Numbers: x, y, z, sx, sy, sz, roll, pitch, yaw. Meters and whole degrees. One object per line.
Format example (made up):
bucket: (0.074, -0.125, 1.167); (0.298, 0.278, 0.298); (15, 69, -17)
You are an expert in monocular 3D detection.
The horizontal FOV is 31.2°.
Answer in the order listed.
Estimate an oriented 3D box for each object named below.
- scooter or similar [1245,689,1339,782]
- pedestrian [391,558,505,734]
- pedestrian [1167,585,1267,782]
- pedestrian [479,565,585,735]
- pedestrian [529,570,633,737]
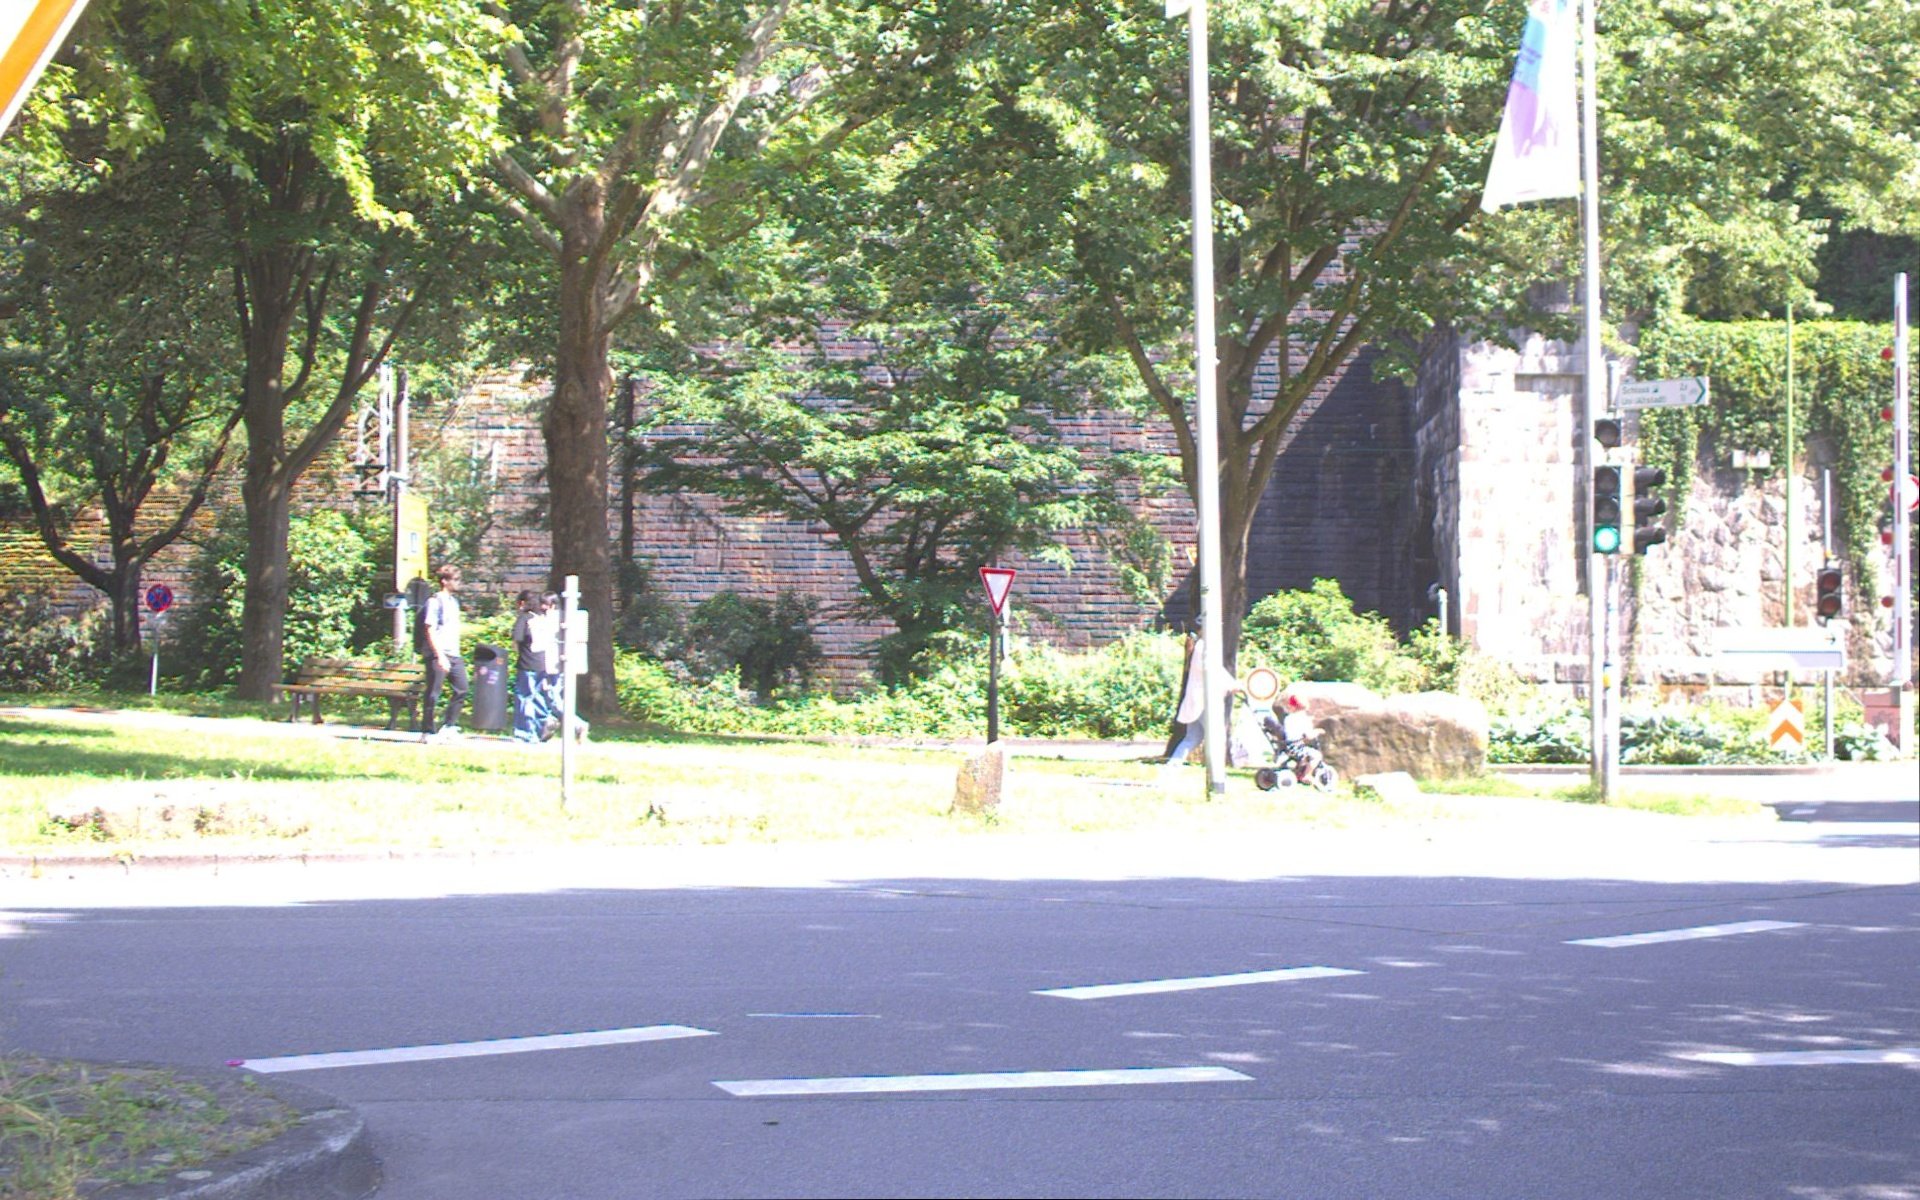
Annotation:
scooter or similar: (3.014, 1.227, 31.231); (0.730, 0.809, 0.570); (1, 0, -7)
pedestrian: (-5.217, 0.472, 35.020); (0.721, 1.750, 0.793); (1, -2, 38)
pedestrian: (2.319, 0.748, 31.095); (0.760, 1.750, 0.765); (1, 0, -5)
pedestrian: (-4.494, 0.528, 36.139); (0.665, 1.750, 0.793); (1, -2, 38)
pedestrian: (-4.062, 0.577, 36.875); (0.665, 1.750, 0.793); (1, -2, 38)
